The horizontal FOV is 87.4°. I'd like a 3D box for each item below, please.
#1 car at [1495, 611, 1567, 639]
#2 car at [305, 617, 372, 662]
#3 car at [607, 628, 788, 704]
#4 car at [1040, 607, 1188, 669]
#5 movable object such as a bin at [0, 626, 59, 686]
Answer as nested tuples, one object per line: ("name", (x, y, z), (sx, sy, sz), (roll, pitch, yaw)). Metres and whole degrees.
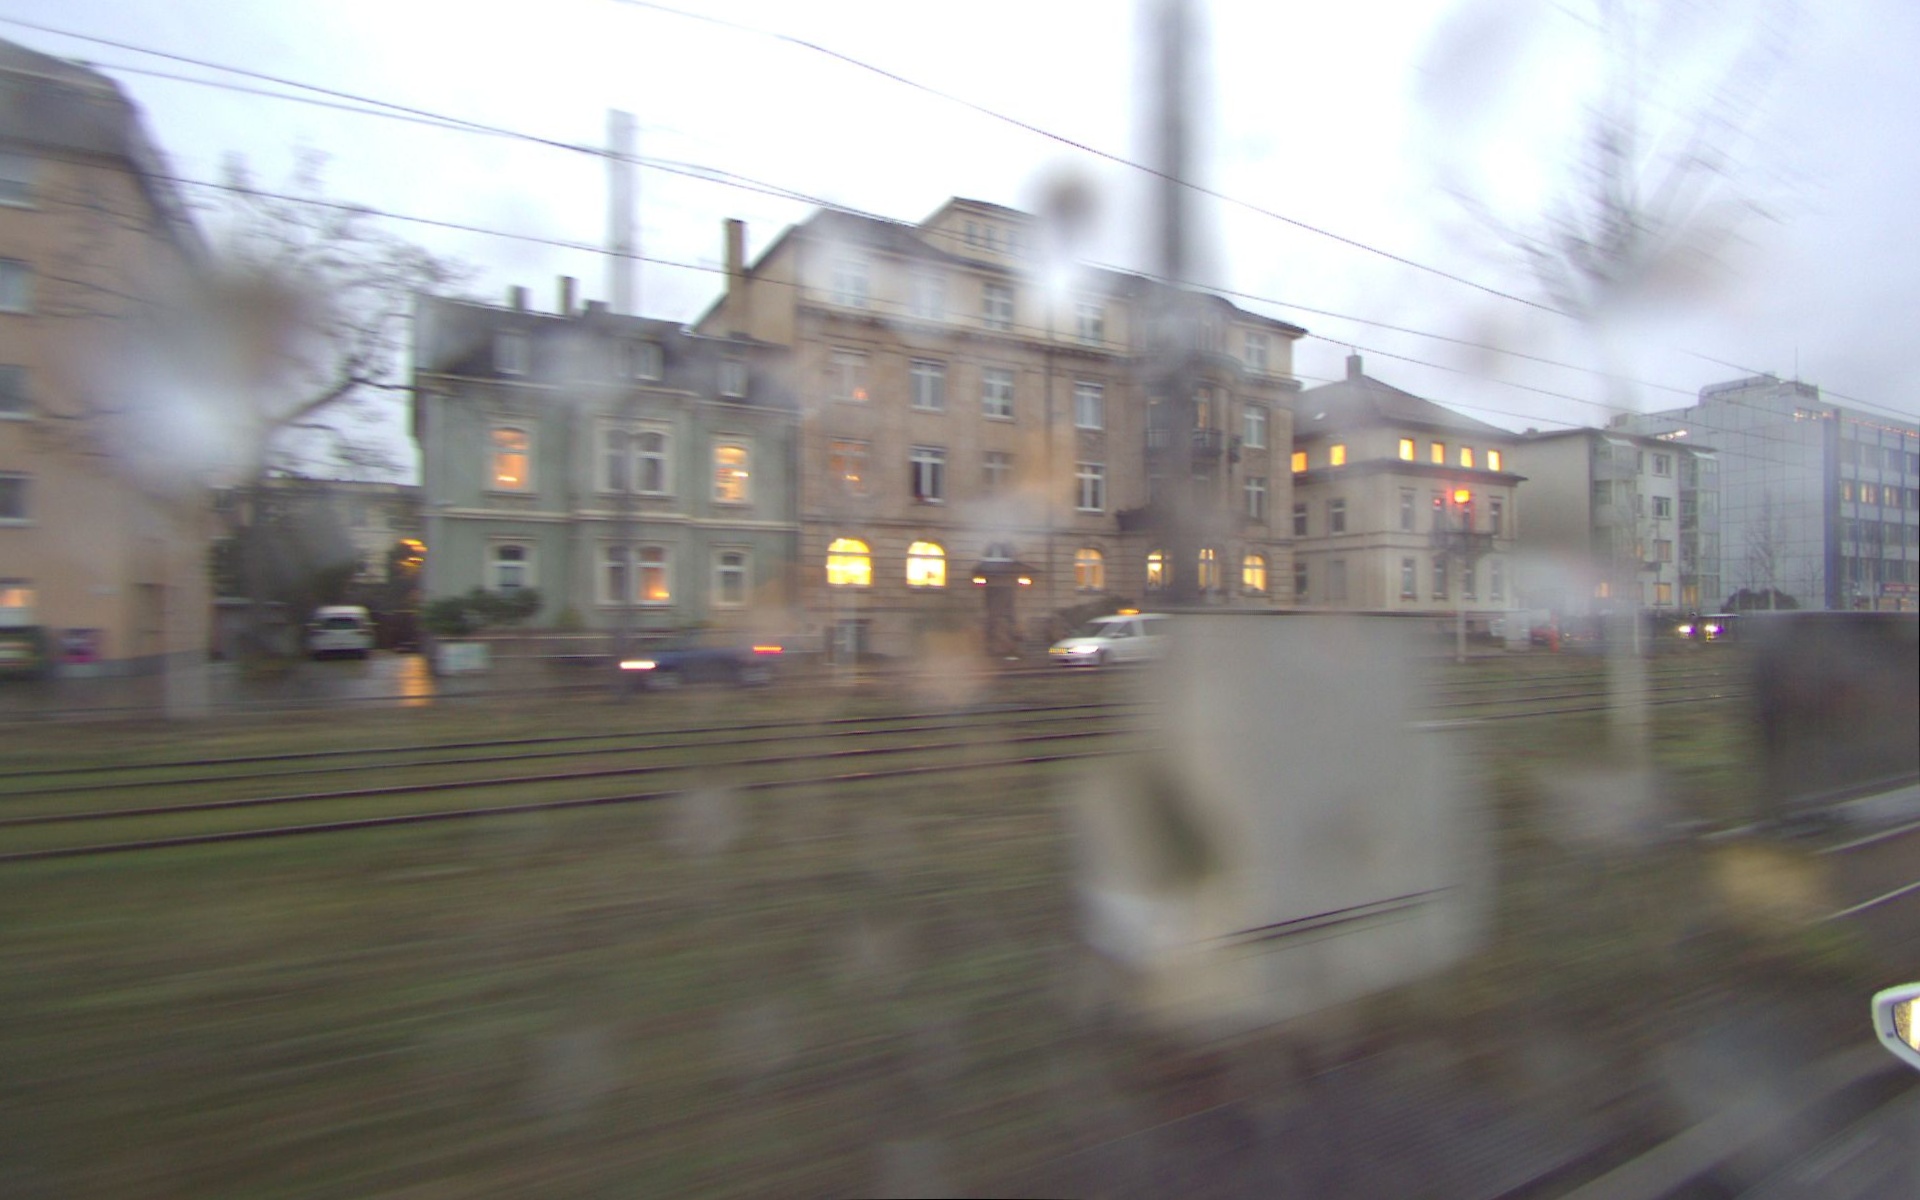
("car", (31.008, 1.353, 54.530), (3.883, 1.455, 1.797), (0, -1, -32))
("car", (-21.259, 1.324, 34.483), (1.812, 1.425, 3.968), (1, -1, -30))
("car", (-6.644, 1.610, 25.509), (4.065, 1.715, 1.983), (0, -1, -32))
("car", (5.240, 1.244, 34.069), (4.857, 1.958, 1.983), (0, -1, -32))
("movable object such as a bin", (-24.398, 1.434, 26.013), (1.409, 1.500, 1.102), (0, -1, -32))
